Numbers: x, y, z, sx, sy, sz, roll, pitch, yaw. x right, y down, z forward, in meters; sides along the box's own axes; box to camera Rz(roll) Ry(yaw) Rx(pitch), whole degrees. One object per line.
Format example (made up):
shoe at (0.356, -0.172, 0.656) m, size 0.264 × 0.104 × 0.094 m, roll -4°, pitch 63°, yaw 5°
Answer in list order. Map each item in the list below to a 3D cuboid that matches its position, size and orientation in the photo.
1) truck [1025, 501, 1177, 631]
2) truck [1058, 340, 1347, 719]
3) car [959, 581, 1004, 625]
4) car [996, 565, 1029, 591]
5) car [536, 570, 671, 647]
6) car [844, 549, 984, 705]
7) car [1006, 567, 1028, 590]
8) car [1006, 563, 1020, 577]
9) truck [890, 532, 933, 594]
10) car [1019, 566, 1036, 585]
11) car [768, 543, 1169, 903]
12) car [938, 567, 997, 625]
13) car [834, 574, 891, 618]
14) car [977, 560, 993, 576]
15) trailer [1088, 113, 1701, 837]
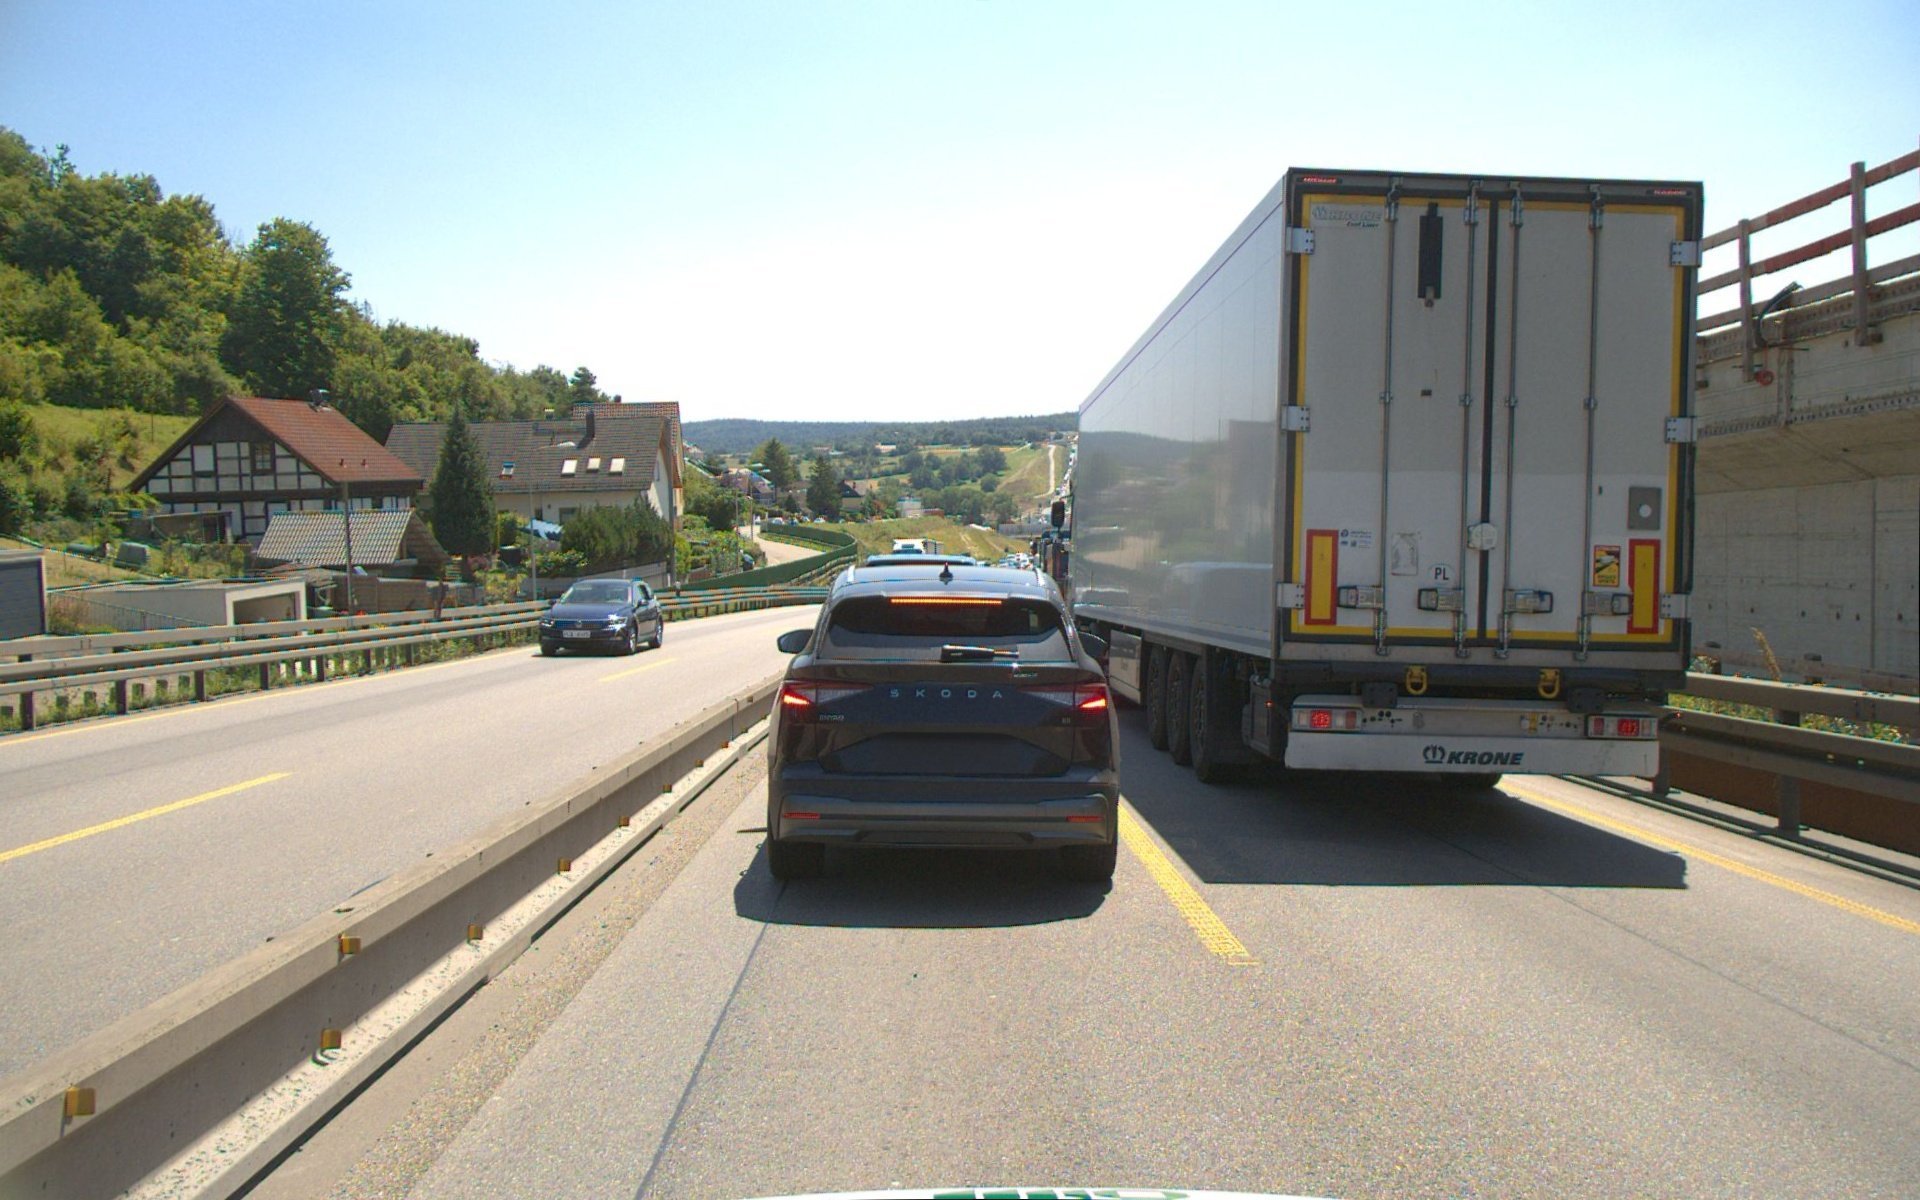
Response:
truck at (3.830, -0.842, 48.399) m, size 3.130 × 3.247 × 12.806 m, roll 1°, pitch 0°, yaw -1°
truck at (2.898, -0.755, 22.184) m, size 2.462 × 4.095 × 8.235 m, roll 1°, pitch 0°, yaw -1°
car at (0.844, 0.079, 67.423) m, size 1.672 × 1.650 × 4.000 m, roll 1°, pitch 1°, yaw -1°
car at (3.334, -1.396, 106.011) m, size 1.953 × 1.613 × 3.836 m, roll 1°, pitch 0°, yaw 0°
car at (-7.178, 0.175, 33.771) m, size 1.804 × 1.443 × 4.685 m, roll -1°, pitch 0°, yaw -1°
car at (-0.711, 0.285, 22.649) m, size 1.673 × 1.914 × 3.997 m, roll 1°, pitch 1°, yaw -5°
car at (4.581, -1.697, 132.136) m, size 1.665 × 1.758 × 3.838 m, roll 1°, pitch 0°, yaw 4°
car at (7.196, -4.059, 224.288) m, size 1.665 × 1.758 × 3.838 m, roll 1°, pitch 0°, yaw 4°
truck at (-3.446, -2.660, 119.572) m, size 2.695 × 4.358 × 4.959 m, roll 1°, pitch 1°, yaw 2°
car at (6.936, -2.505, 169.200) m, size 1.665 × 1.758 × 3.838 m, roll 1°, pitch 0°, yaw 4°
car at (-0.104, 0.574, 9.486) m, size 1.806 × 1.614 × 3.903 m, roll 1°, pitch 0°, yaw -5°
car at (0.196, -0.163, 50.467) m, size 1.672 × 1.650 × 4.000 m, roll 1°, pitch 1°, yaw -1°
car at (-3.218, -0.162, 55.420) m, size 1.683 × 1.433 × 4.000 m, roll 0°, pitch 1°, yaw 0°
car at (2.911, -3.689, 192.392) m, size 1.666 × 1.758 × 3.836 m, roll 1°, pitch 0°, yaw -1°
trailer at (3.006, -0.713, 15.479) m, size 2.480 × 4.199 × 11.545 m, roll 1°, pitch 0°, yaw -1°
